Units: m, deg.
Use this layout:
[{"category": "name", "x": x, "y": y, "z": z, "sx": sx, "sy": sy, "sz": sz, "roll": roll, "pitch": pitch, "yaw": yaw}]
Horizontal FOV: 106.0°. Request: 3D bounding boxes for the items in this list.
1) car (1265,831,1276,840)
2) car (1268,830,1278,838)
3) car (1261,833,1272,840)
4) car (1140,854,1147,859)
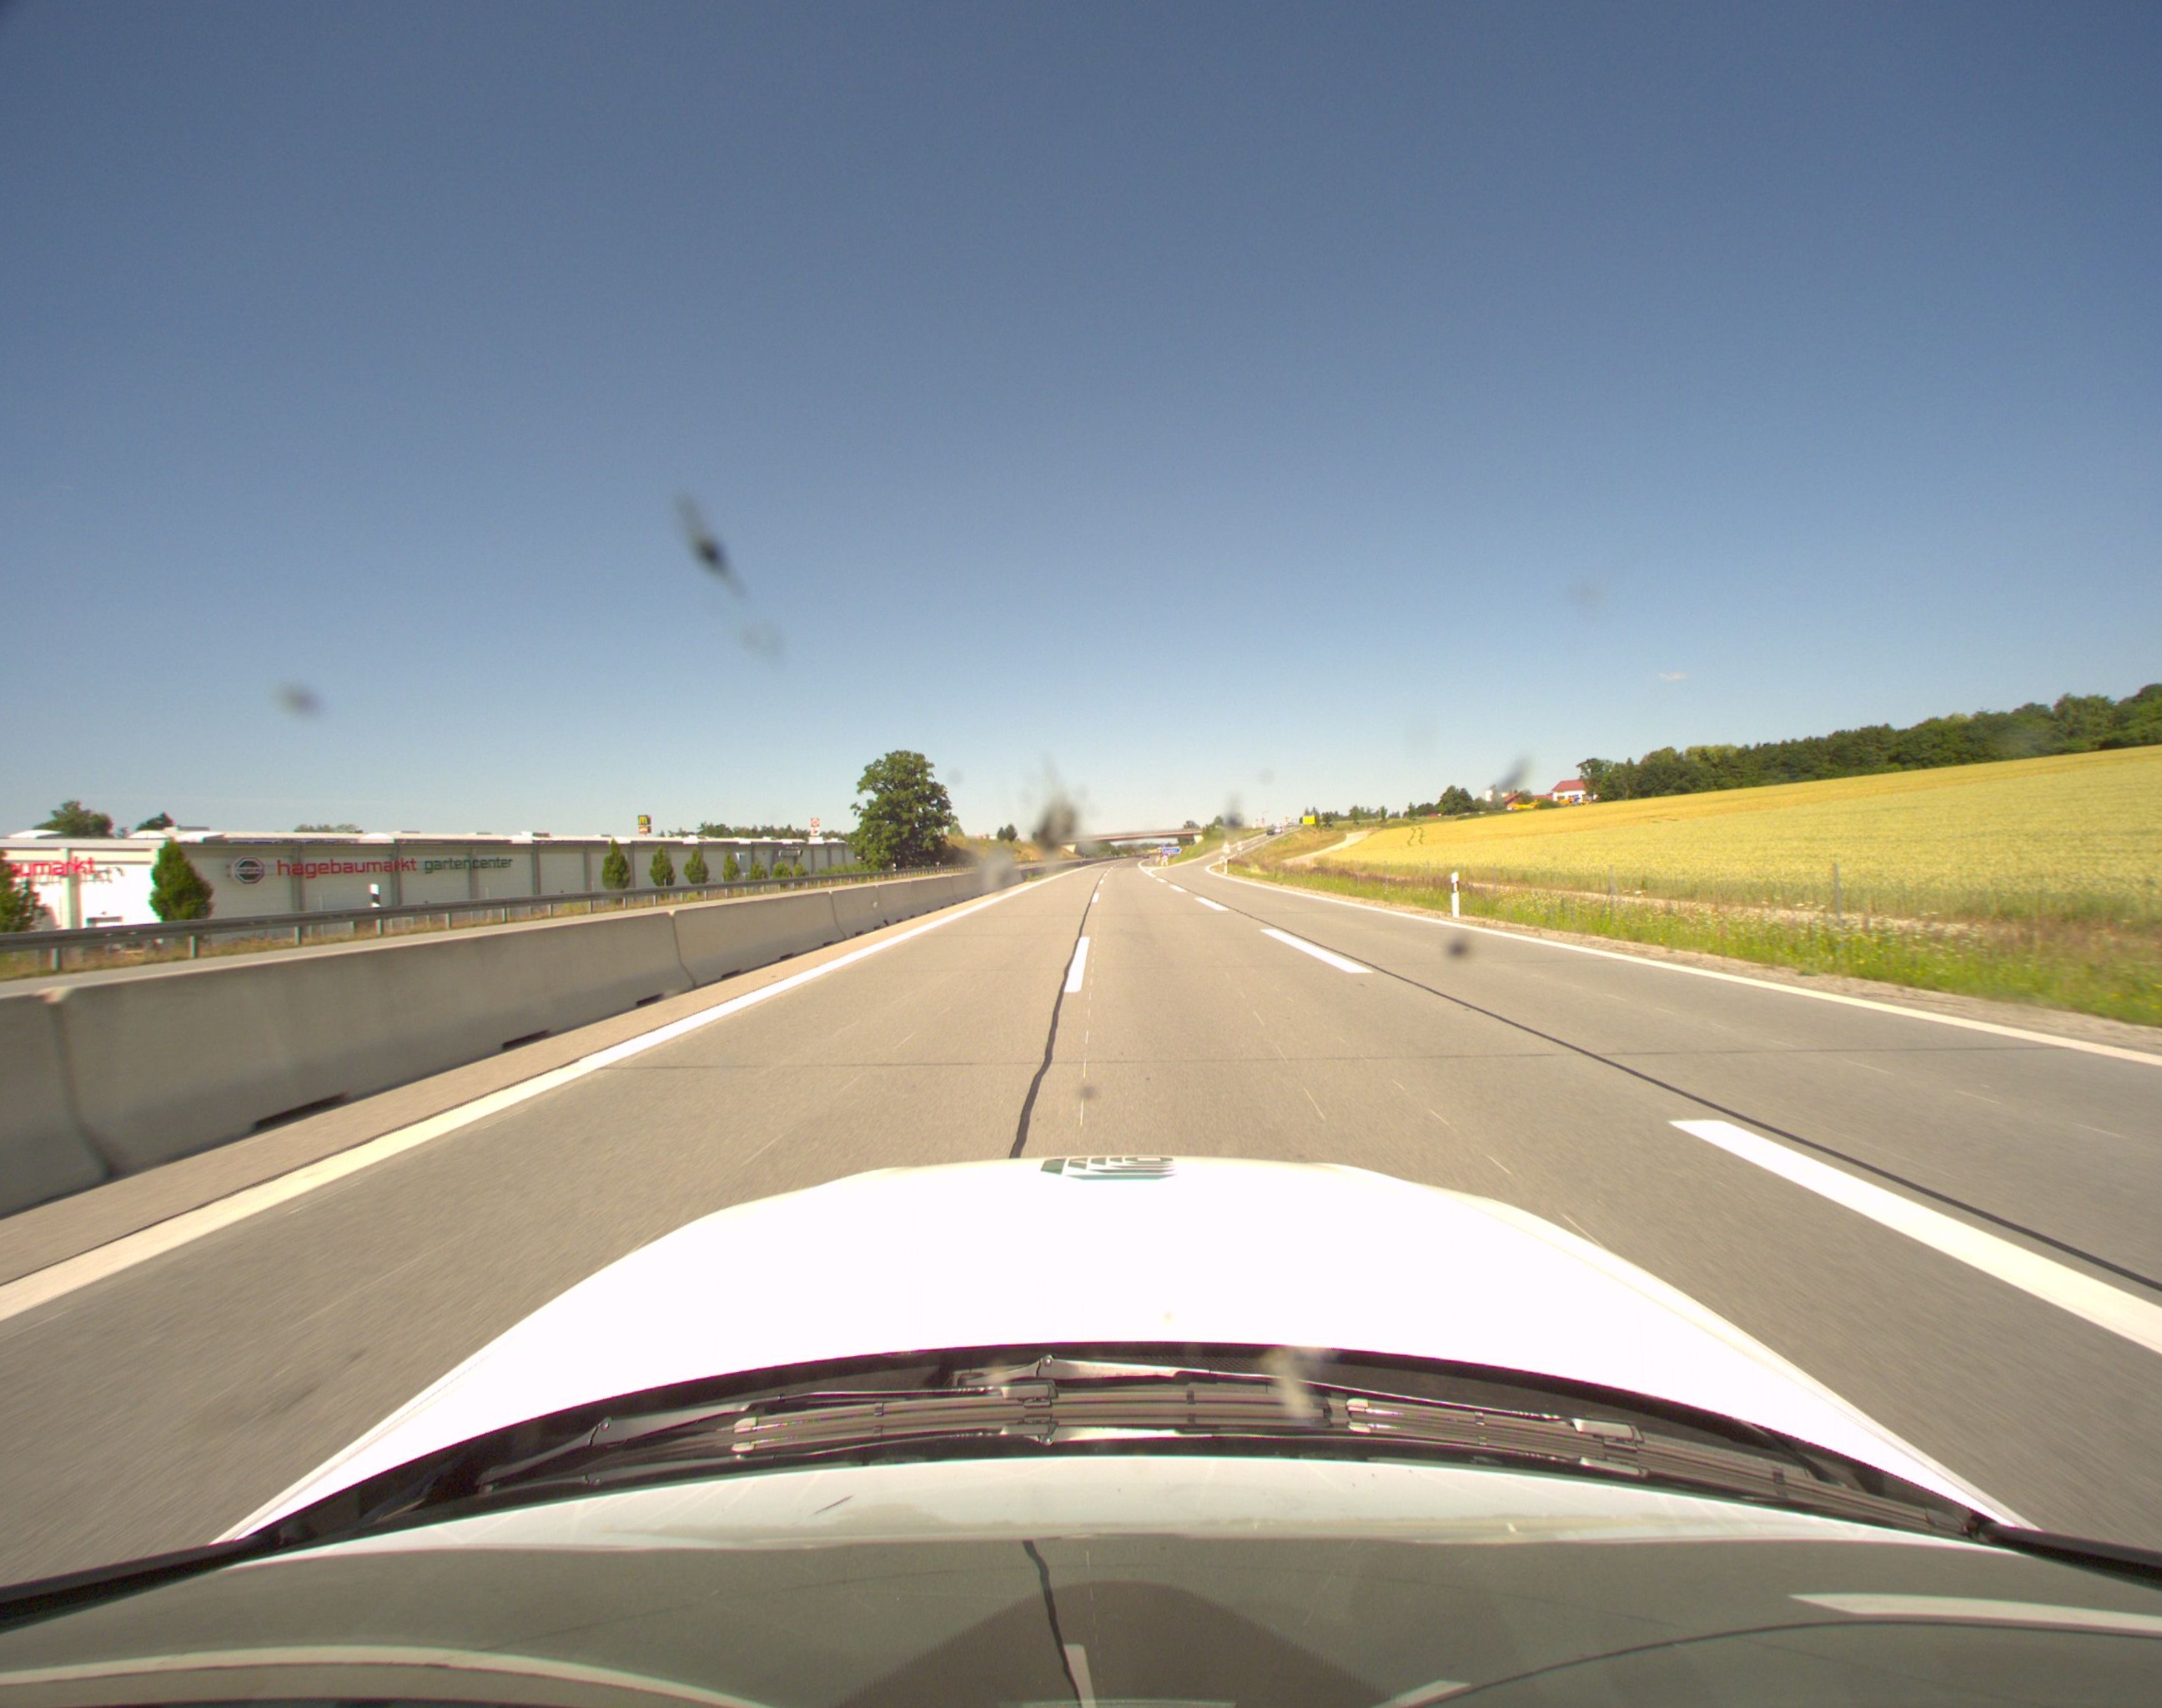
[{"category": "car", "x": 45.242, "y": -4.464, "z": 194.778, "sx": 1.977, "sy": 2.013, "sz": 4.020, "roll": -3, "pitch": 0, "yaw": 20}, {"category": "car", "x": 52.861, "y": -5.406, "z": 224.040, "sx": 1.977, "sy": 2.013, "sz": 4.020, "roll": -3, "pitch": 0, "yaw": 20}, {"category": "car", "x": 44.728, "y": -4.245, "z": 196.144, "sx": 1.977, "sy": 1.618, "sz": 4.020, "roll": -3, "pitch": 0, "yaw": 20}, {"category": "car", "x": 19.322, "y": 0.737, "z": 252.099, "sx": 1.985, "sy": 1.420, "sz": 4.005, "roll": -3, "pitch": 0, "yaw": 4}]
